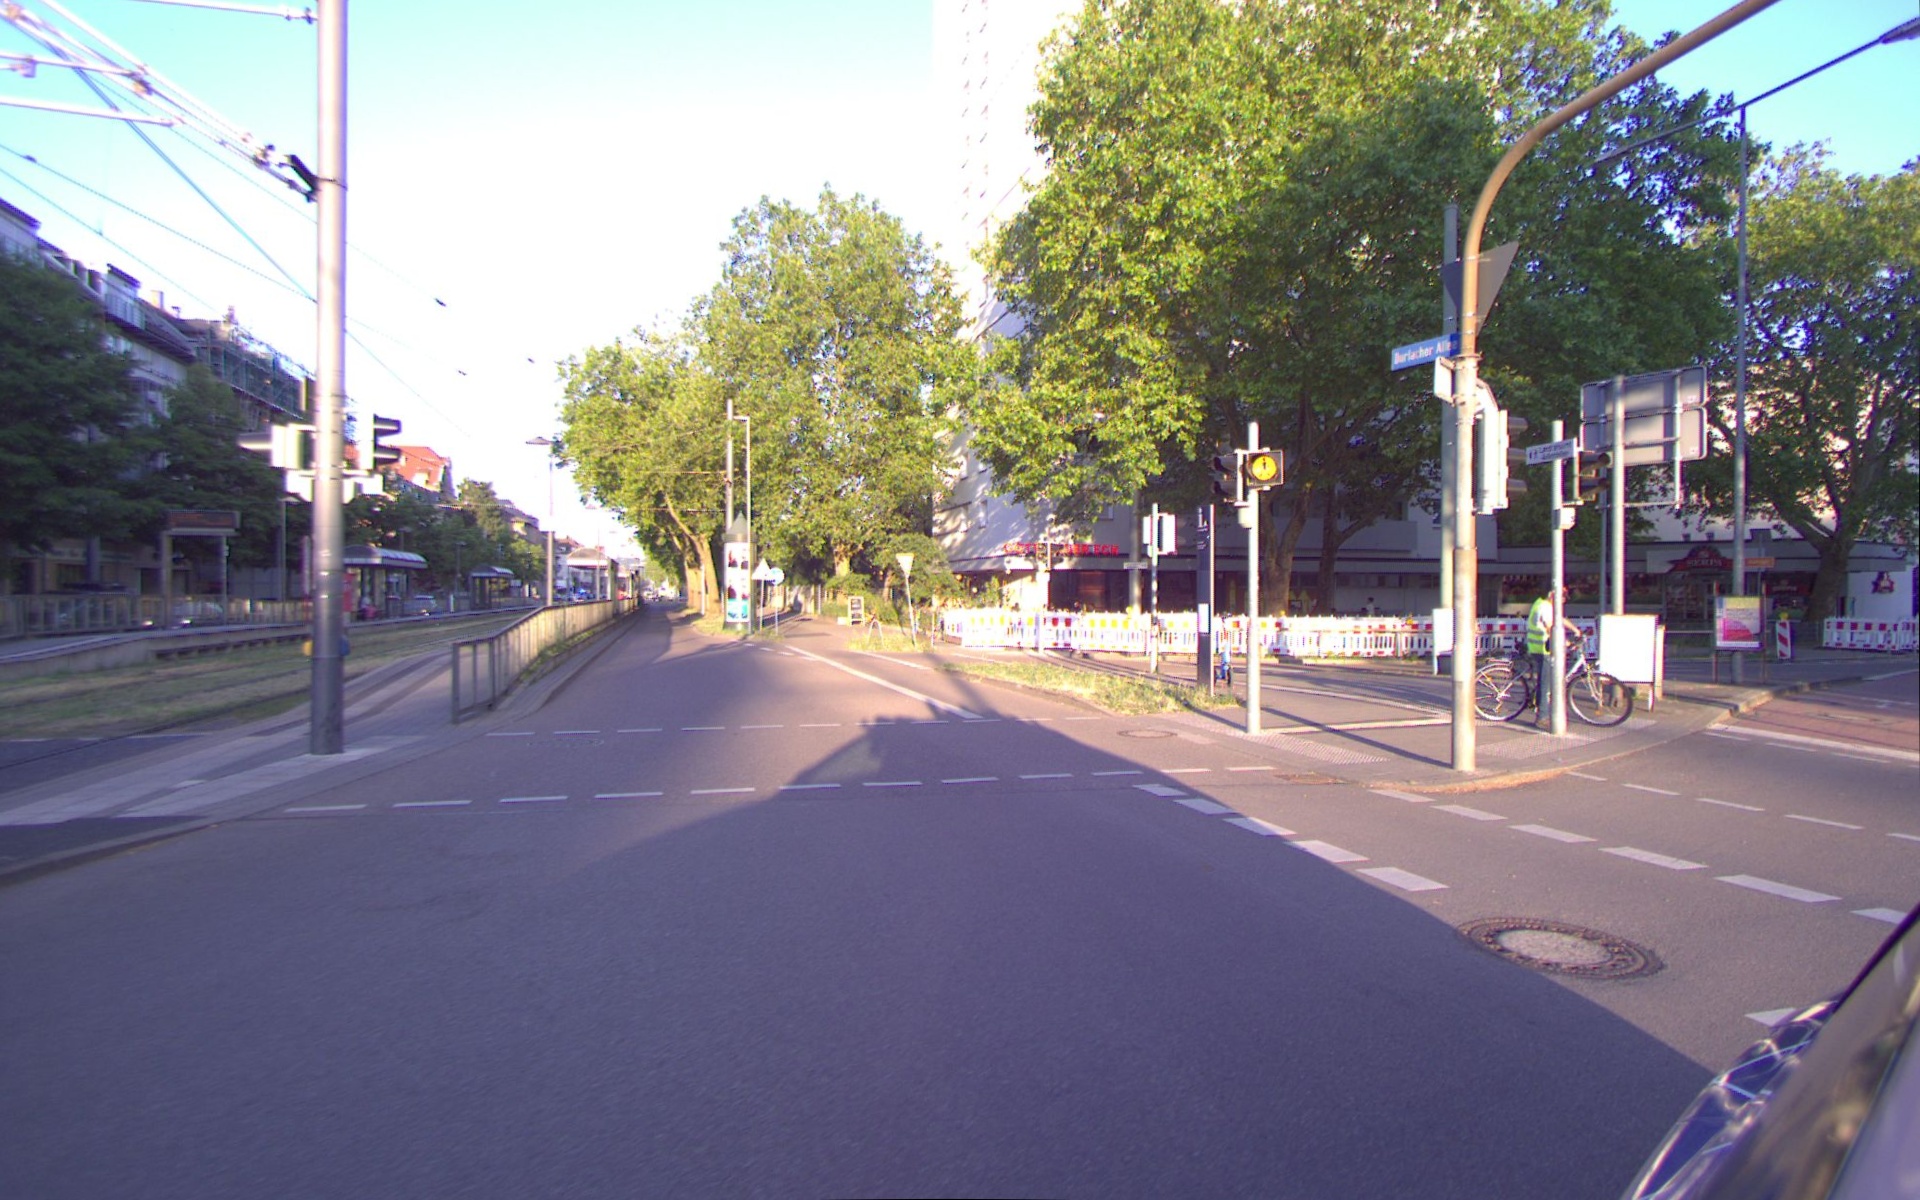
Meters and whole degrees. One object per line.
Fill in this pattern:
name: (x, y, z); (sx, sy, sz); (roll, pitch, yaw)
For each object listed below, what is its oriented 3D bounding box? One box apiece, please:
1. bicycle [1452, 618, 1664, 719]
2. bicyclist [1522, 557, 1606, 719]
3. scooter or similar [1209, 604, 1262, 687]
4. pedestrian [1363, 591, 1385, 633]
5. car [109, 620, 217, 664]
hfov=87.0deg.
bicycle: (7.047, 0.795, 12.033); (2.045, 1.123, 0.624); (-1, 0, 19)
bicyclist: (7.149, 0.439, 12.006); (0.689, 1.847, 0.624); (-1, -1, 19)
scooter or similar: (4.454, 0.713, 16.418); (0.506, 1.265, 1.234); (-1, 0, 0)
pedestrian: (16.203, 0.459, 39.606); (0.637, 1.608, 0.737); (-2, -1, 37)
car: (-30.475, 1.560, 38.842); (1.811, 1.505, 4.008); (-1, 0, -15)
